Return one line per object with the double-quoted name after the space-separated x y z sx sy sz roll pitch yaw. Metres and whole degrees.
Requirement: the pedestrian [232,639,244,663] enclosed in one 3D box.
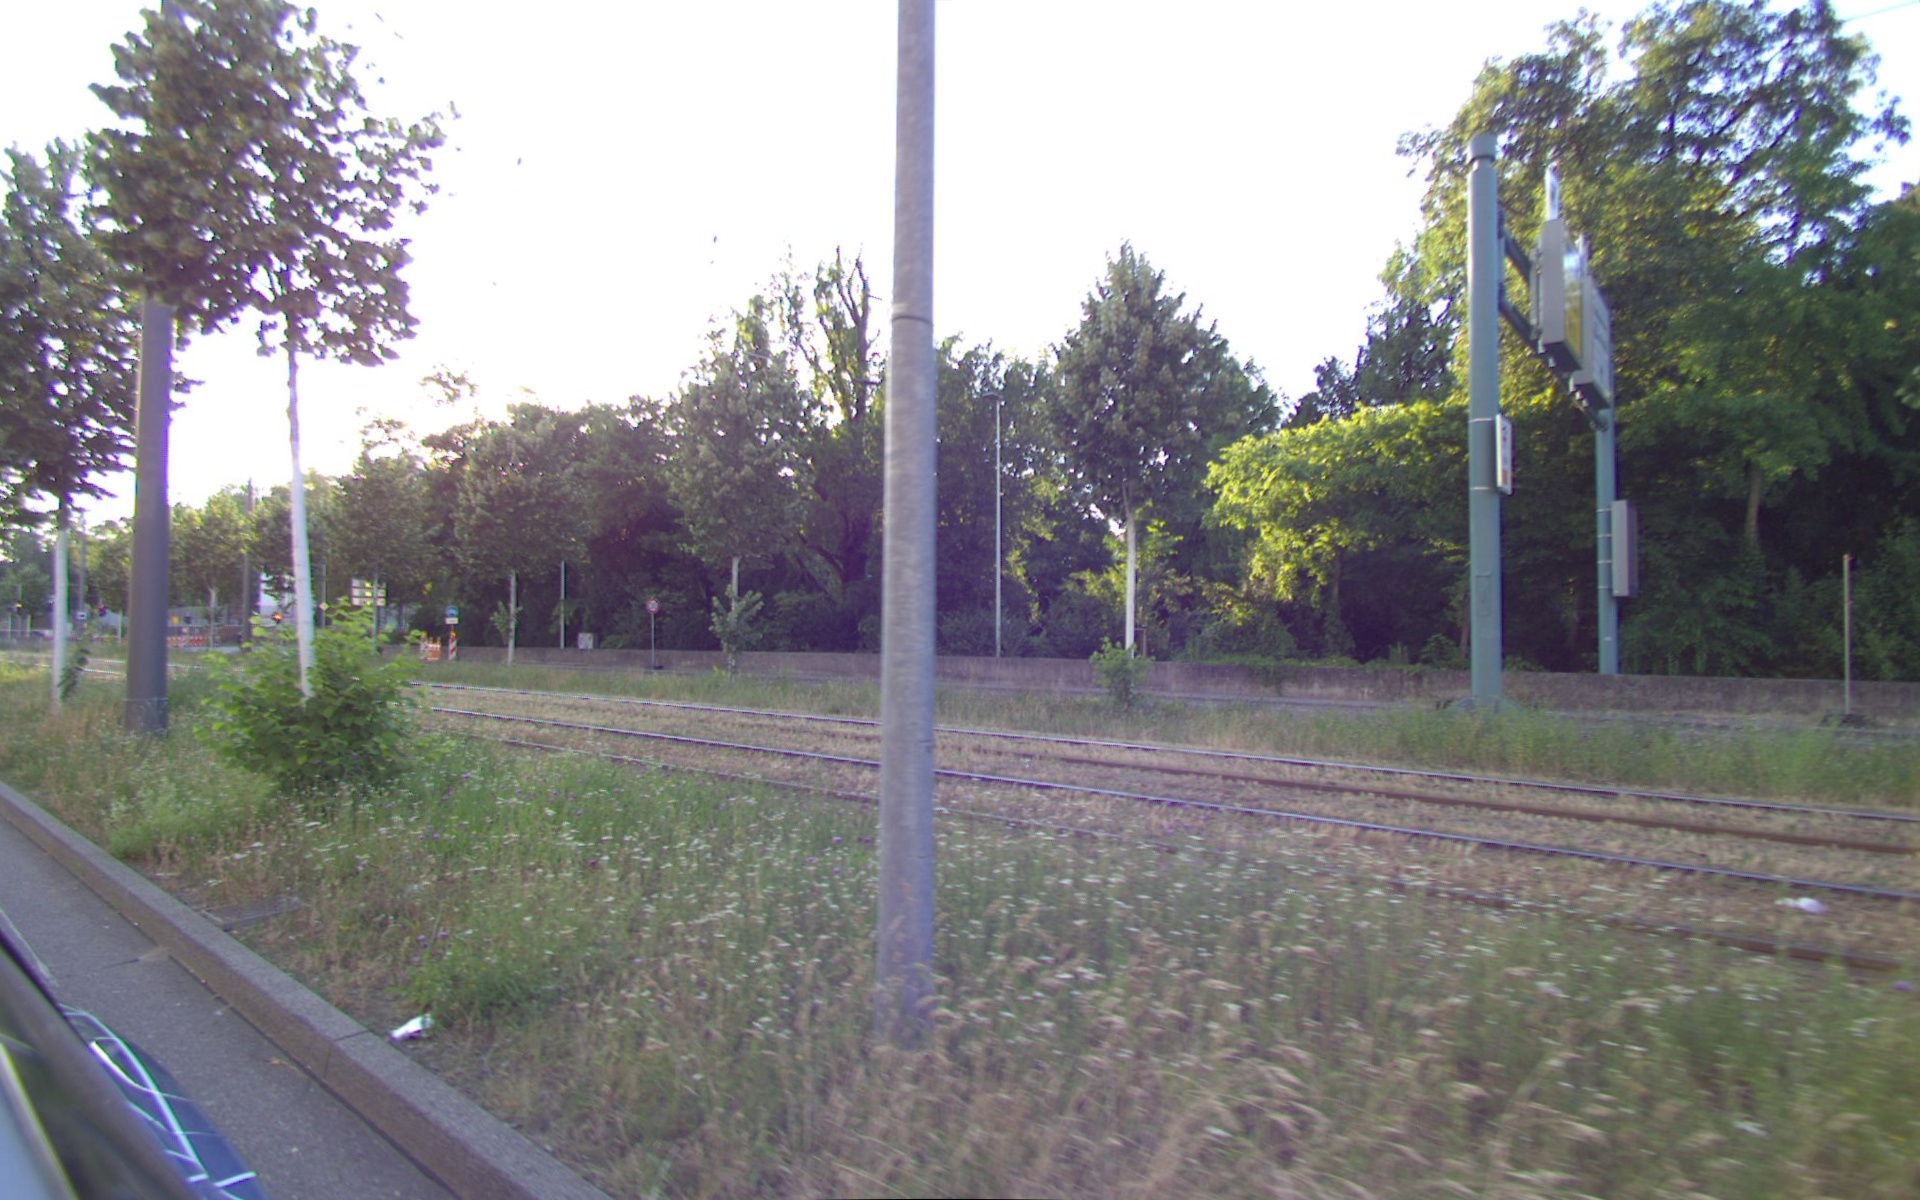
-51.086 3.610 71.643 0.660 1.620 0.679 -1 -5 -36 "pedestrian"
